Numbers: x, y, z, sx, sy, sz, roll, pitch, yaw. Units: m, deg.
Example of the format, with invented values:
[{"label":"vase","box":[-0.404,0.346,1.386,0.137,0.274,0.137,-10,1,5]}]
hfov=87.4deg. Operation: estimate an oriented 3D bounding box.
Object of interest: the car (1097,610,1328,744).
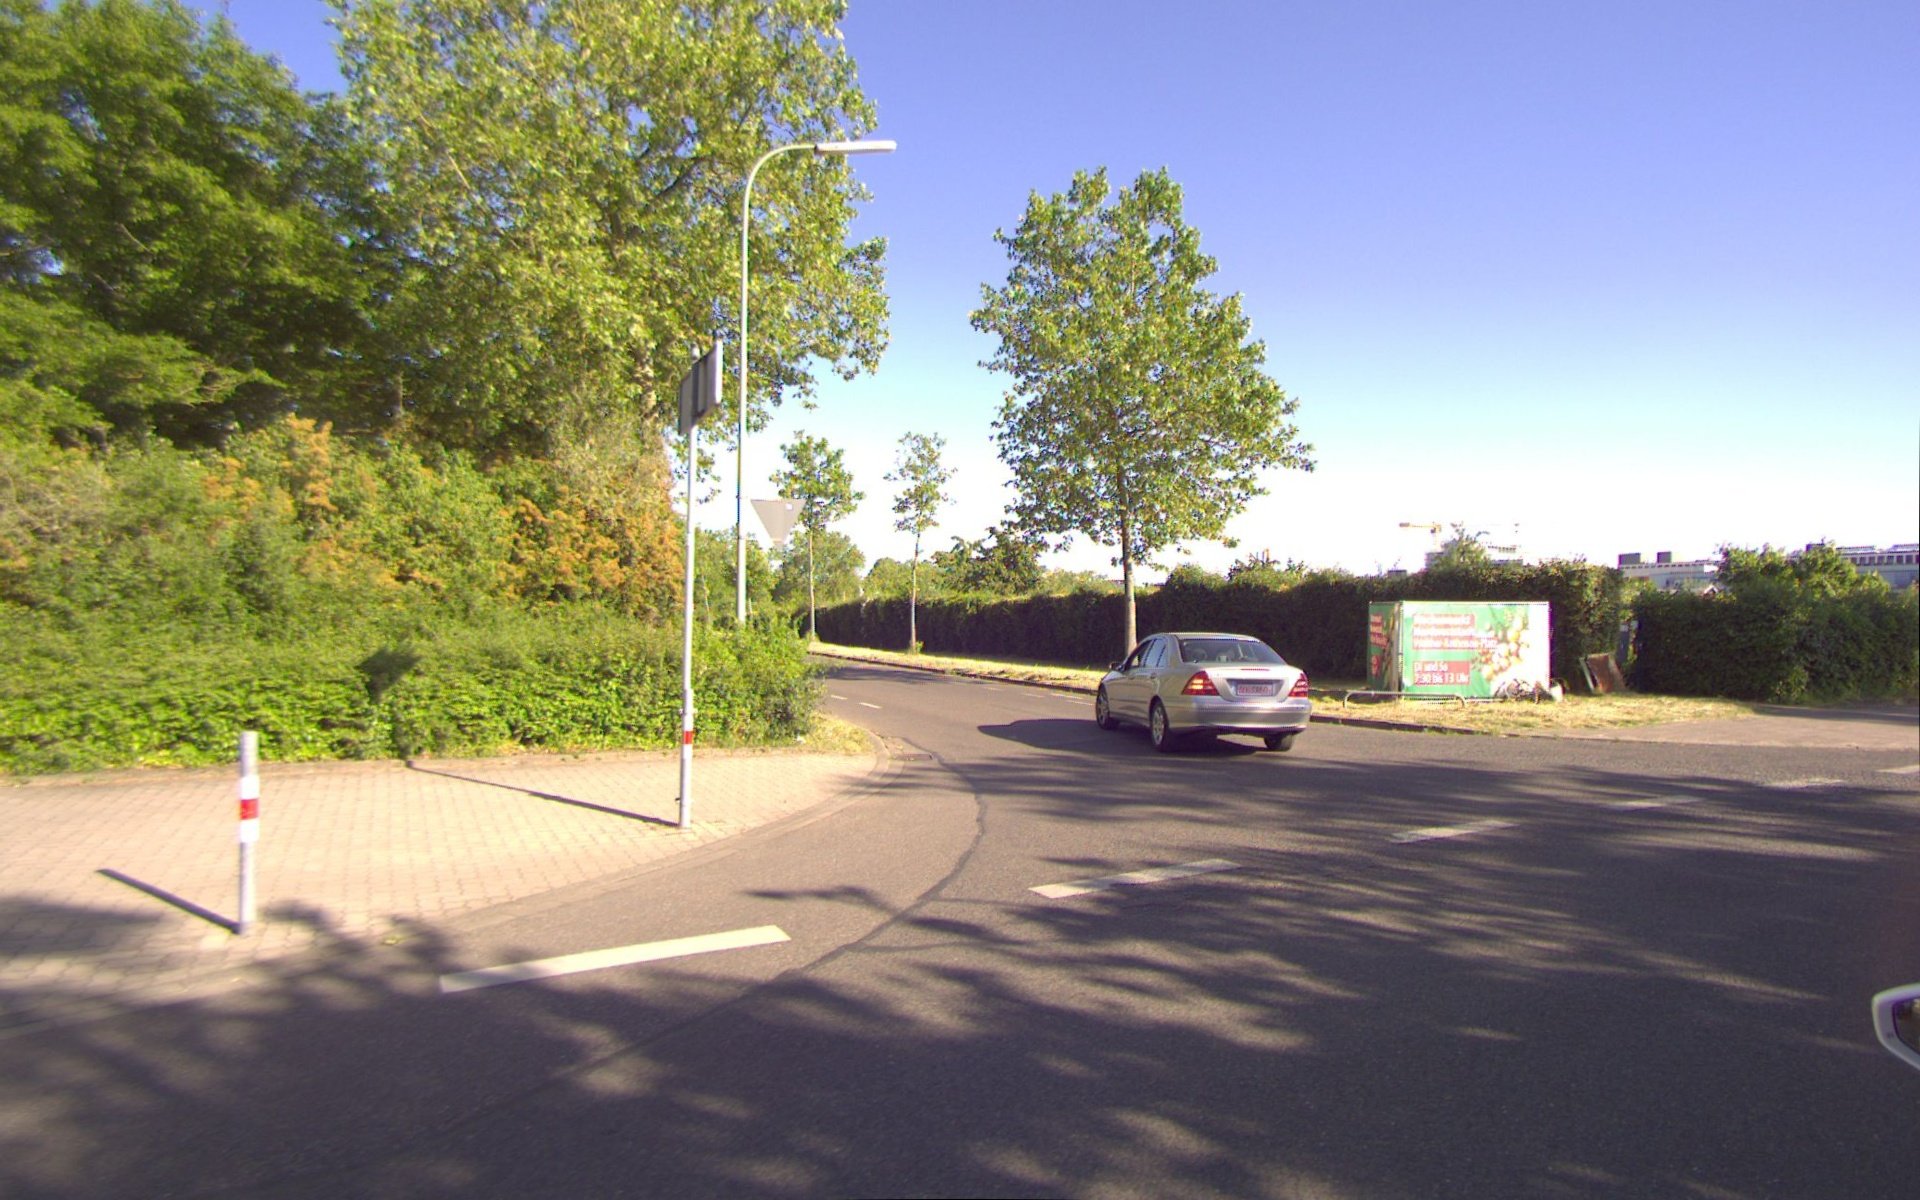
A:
[{"label":"car","box":[3.098,0.902,13.202,1.710,1.472,3.997,0,-1,-6]}]
